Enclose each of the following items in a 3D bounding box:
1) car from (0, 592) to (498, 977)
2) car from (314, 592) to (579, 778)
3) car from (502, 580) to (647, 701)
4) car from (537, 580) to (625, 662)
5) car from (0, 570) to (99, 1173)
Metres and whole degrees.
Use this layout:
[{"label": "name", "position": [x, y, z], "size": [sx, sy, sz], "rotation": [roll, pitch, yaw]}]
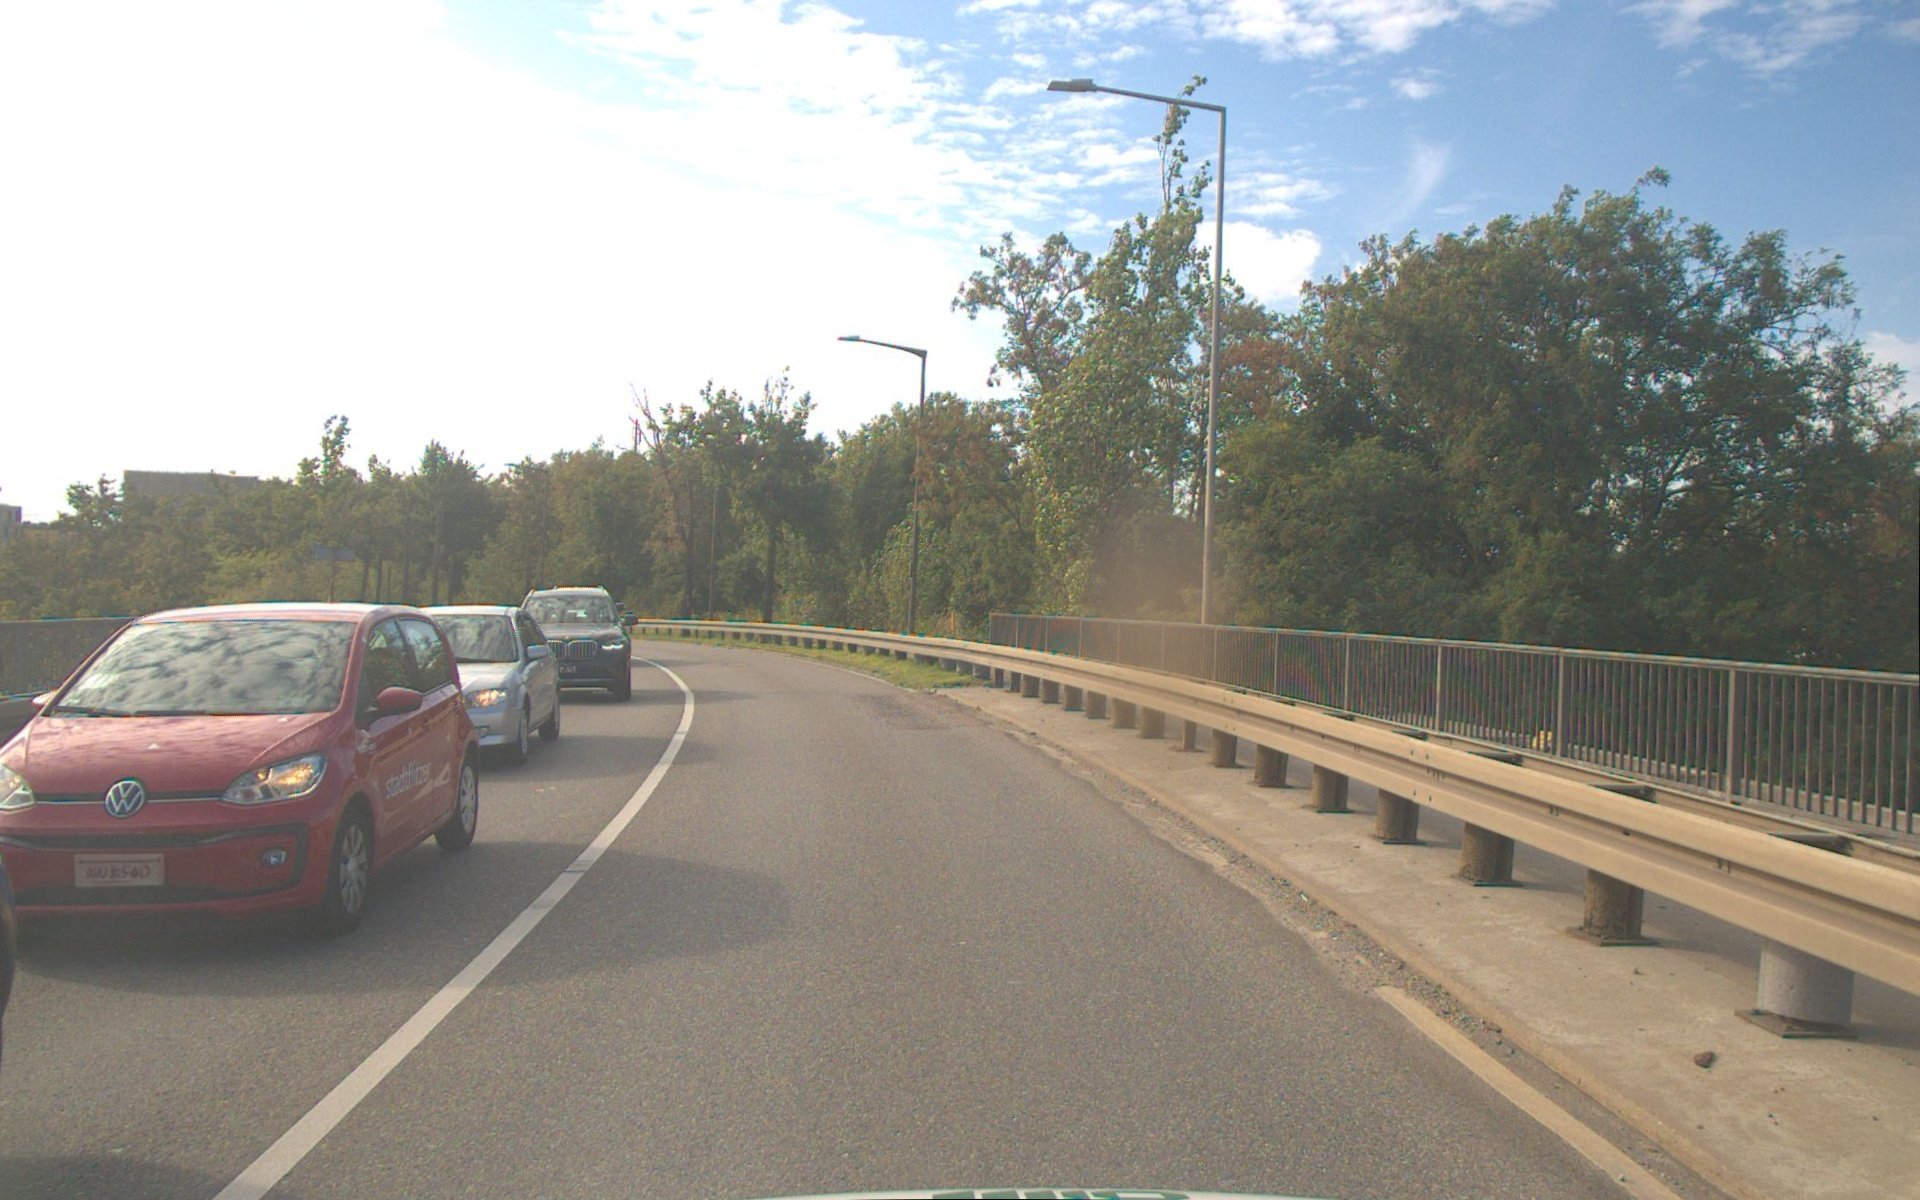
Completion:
[{"label": "car", "position": [-3.521, 0.718, 8.378], "size": [1.568, 1.490, 3.733], "rotation": [-1, 0, -5]}, {"label": "car", "position": [-4.763, 0.694, 15.921], "size": [1.699, 1.481, 4.258], "rotation": [-1, 1, -7]}, {"label": "car", "position": [-5.880, 0.567, 25.694], "size": [1.855, 1.678, 4.632], "rotation": [-1, 0, -9]}, {"label": "car", "position": [-9.300, 0.474, 40.281], "size": [1.869, 1.842, 5.381], "rotation": [0, 0, -15]}, {"label": "car", "position": [-3.271, 0.715, 2.728], "size": [1.763, 1.546, 4.005], "rotation": [-1, 0, -3]}]
